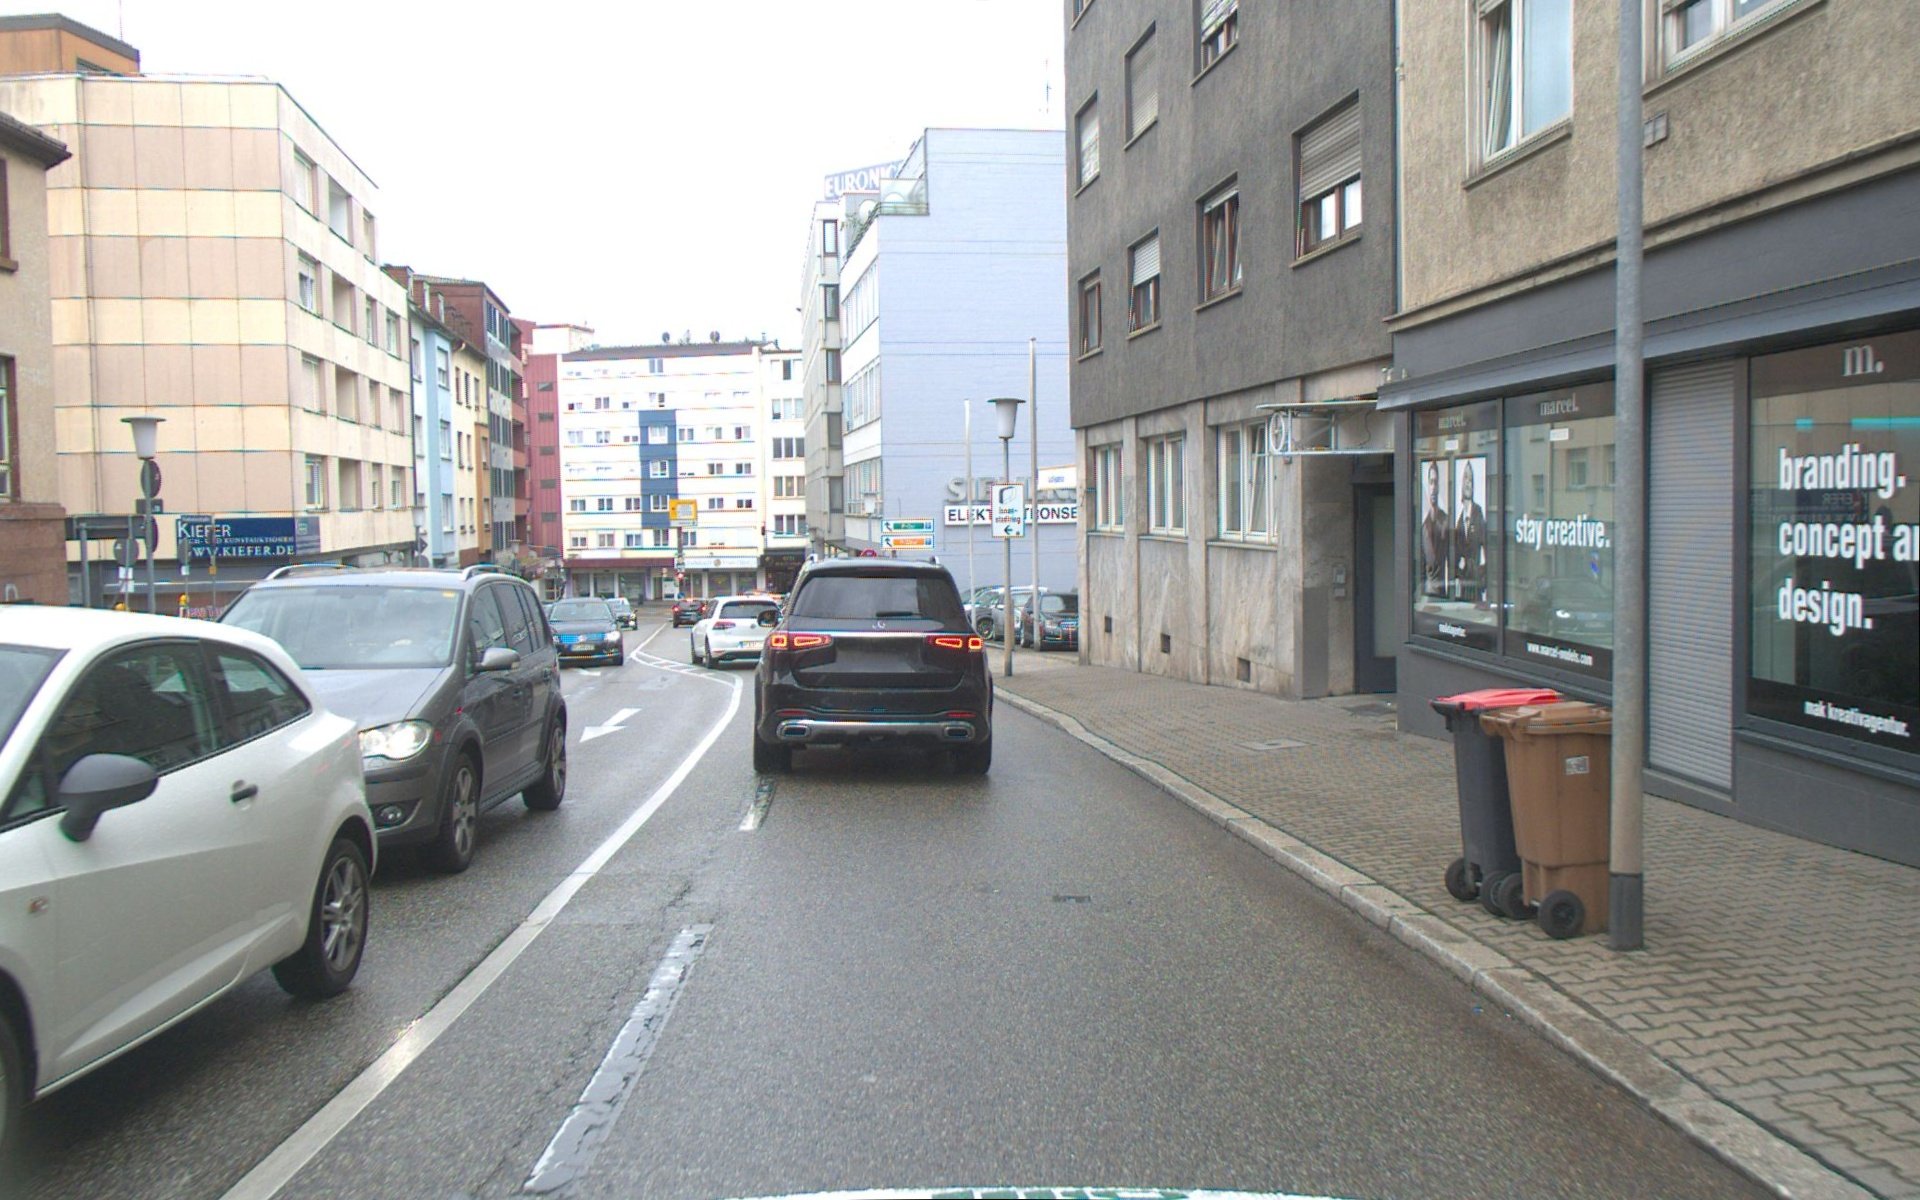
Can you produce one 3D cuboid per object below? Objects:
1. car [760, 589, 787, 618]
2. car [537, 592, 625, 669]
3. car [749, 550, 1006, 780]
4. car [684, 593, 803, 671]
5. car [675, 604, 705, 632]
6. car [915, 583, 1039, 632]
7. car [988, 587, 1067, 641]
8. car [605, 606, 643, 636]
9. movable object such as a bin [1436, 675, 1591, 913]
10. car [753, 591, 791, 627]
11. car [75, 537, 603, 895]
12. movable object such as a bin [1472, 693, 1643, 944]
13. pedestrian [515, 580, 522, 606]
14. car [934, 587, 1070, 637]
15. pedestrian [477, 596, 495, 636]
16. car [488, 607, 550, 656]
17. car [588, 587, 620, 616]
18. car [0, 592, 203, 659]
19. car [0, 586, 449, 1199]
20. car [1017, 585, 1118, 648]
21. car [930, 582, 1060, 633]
[{"bbox_3d":[-10.841,0.180,95.956,1.493,1.575,3.103,-1,1,-7],"label":"car"},{"bbox_3d":[-8.337,0.660,36.645,1.693,1.542,4.357,-2,0,-11],"label":"car"},{"bbox_3d":[-0.903,0.509,15.246,1.982,1.770,4.740,1,0,-7],"label":"car"},{"bbox_3d":[-4.661,0.633,35.110,1.801,1.487,4.358,-2,1,-17],"label":"car"},{"bbox_3d":[-13.598,0.892,83.245,1.260,1.143,2.785,-1,4,-5],"label":"car"},{"bbox_3d":[0.586,0.276,56.802,3.941,1.625,1.783,0,-1,-28],"label":"car"},{"bbox_3d":[1.902,0.371,47.593,1.536,1.503,4.061,0,0,-9],"label":"car"},{"bbox_3d":[-16.670,1.016,82.009,1.685,1.340,4.129,-1,1,-14],"label":"car"},{"bbox_3d":[2.530,0.876,7.599,0.514,0.997,0.537,0,4,0],"label":"movable object such as a bin"},{"bbox_3d":[-8.803,0.397,77.352,1.495,1.575,3.099,-1,1,-11],"label":"car"},{"bbox_3d":[-3.527,0.586,10.389,1.771,1.735,4.558,1,0,-3],"label":"car"},{"bbox_3d":[2.527,0.911,7.037,0.514,0.966,0.537,0,4,0],"label":"movable object such as a bin"},{"bbox_3d":[-26.607,-0.430,99.707,0.312,1.499,0.338,0,4,-4],"label":"pedestrian"},{"bbox_3d":[1.313,0.386,51.671,3.941,1.521,1.717,0,-1,-28],"label":"car"},{"bbox_3d":[-20.911,0.700,72.979,0.659,1.680,0.604,-1,4,-12],"label":"pedestrian"},{"bbox_3d":[-15.924,1.124,59.928,1.683,1.614,4.134,-4,0,-9],"label":"car"},{"bbox_3d":[-23.939,0.090,111.273,1.836,1.783,4.389,-4,1,-10],"label":"car"},{"bbox_3d":[-20.546,0.594,39.302,4.243,1.539,1.898,0,0,2],"label":"car"},{"bbox_3d":[-3.016,0.714,4.937,1.663,1.506,4.290,1,0,-1],"label":"car"},{"bbox_3d":[2.675,0.390,42.156,1.763,1.503,4.478,0,0,-7],"label":"car"},{"bbox_3d":[1.150,0.279,54.264,3.941,1.625,1.783,0,-1,-28],"label":"car"}]
